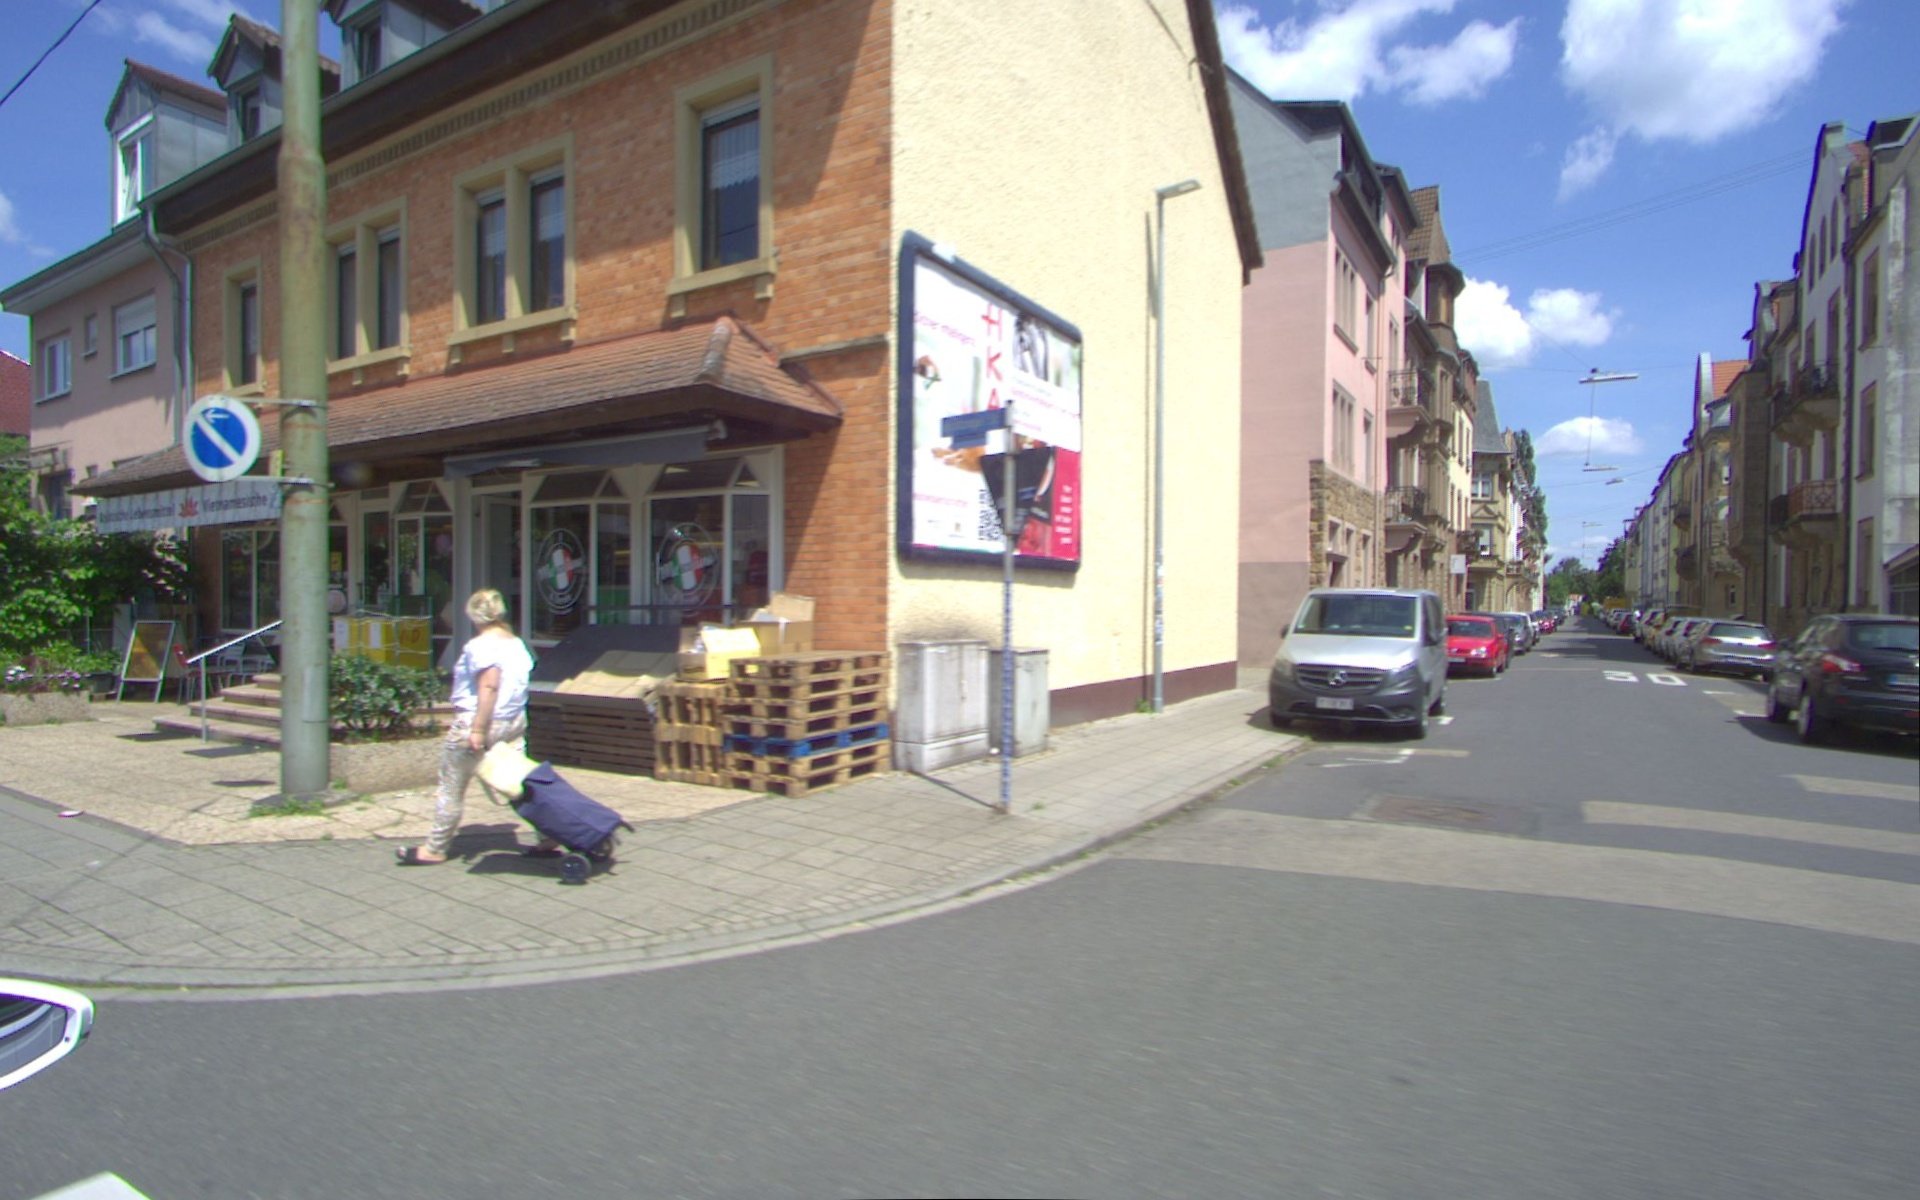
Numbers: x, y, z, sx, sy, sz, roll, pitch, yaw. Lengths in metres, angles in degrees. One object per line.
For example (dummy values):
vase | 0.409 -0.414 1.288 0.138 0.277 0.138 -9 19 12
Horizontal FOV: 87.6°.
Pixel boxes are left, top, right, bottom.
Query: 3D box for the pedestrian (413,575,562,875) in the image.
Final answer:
pedestrian | -2.853 0.694 6.037 0.698 1.664 0.654 0 3 -37

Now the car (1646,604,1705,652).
car | 27.567 1.114 38.667 1.627 1.723 3.981 -1 -3 32

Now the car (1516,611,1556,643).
car | 29.669 1.427 51.550 1.627 1.527 3.981 -1 -3 32

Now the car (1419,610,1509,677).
car | 12.678 1.106 25.083 1.627 1.527 3.981 -1 -3 32

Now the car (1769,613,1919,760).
car | 11.660 1.003 12.681 1.816 1.564 3.865 4 2 35

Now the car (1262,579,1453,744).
car | 5.766 0.733 14.113 1.880 1.886 5.048 0 -1 29

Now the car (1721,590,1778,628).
car | 35.939 0.448 45.658 1.627 1.527 3.981 -1 -3 32

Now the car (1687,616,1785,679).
car | 20.148 1.243 26.139 1.627 1.527 3.981 -1 -3 32
